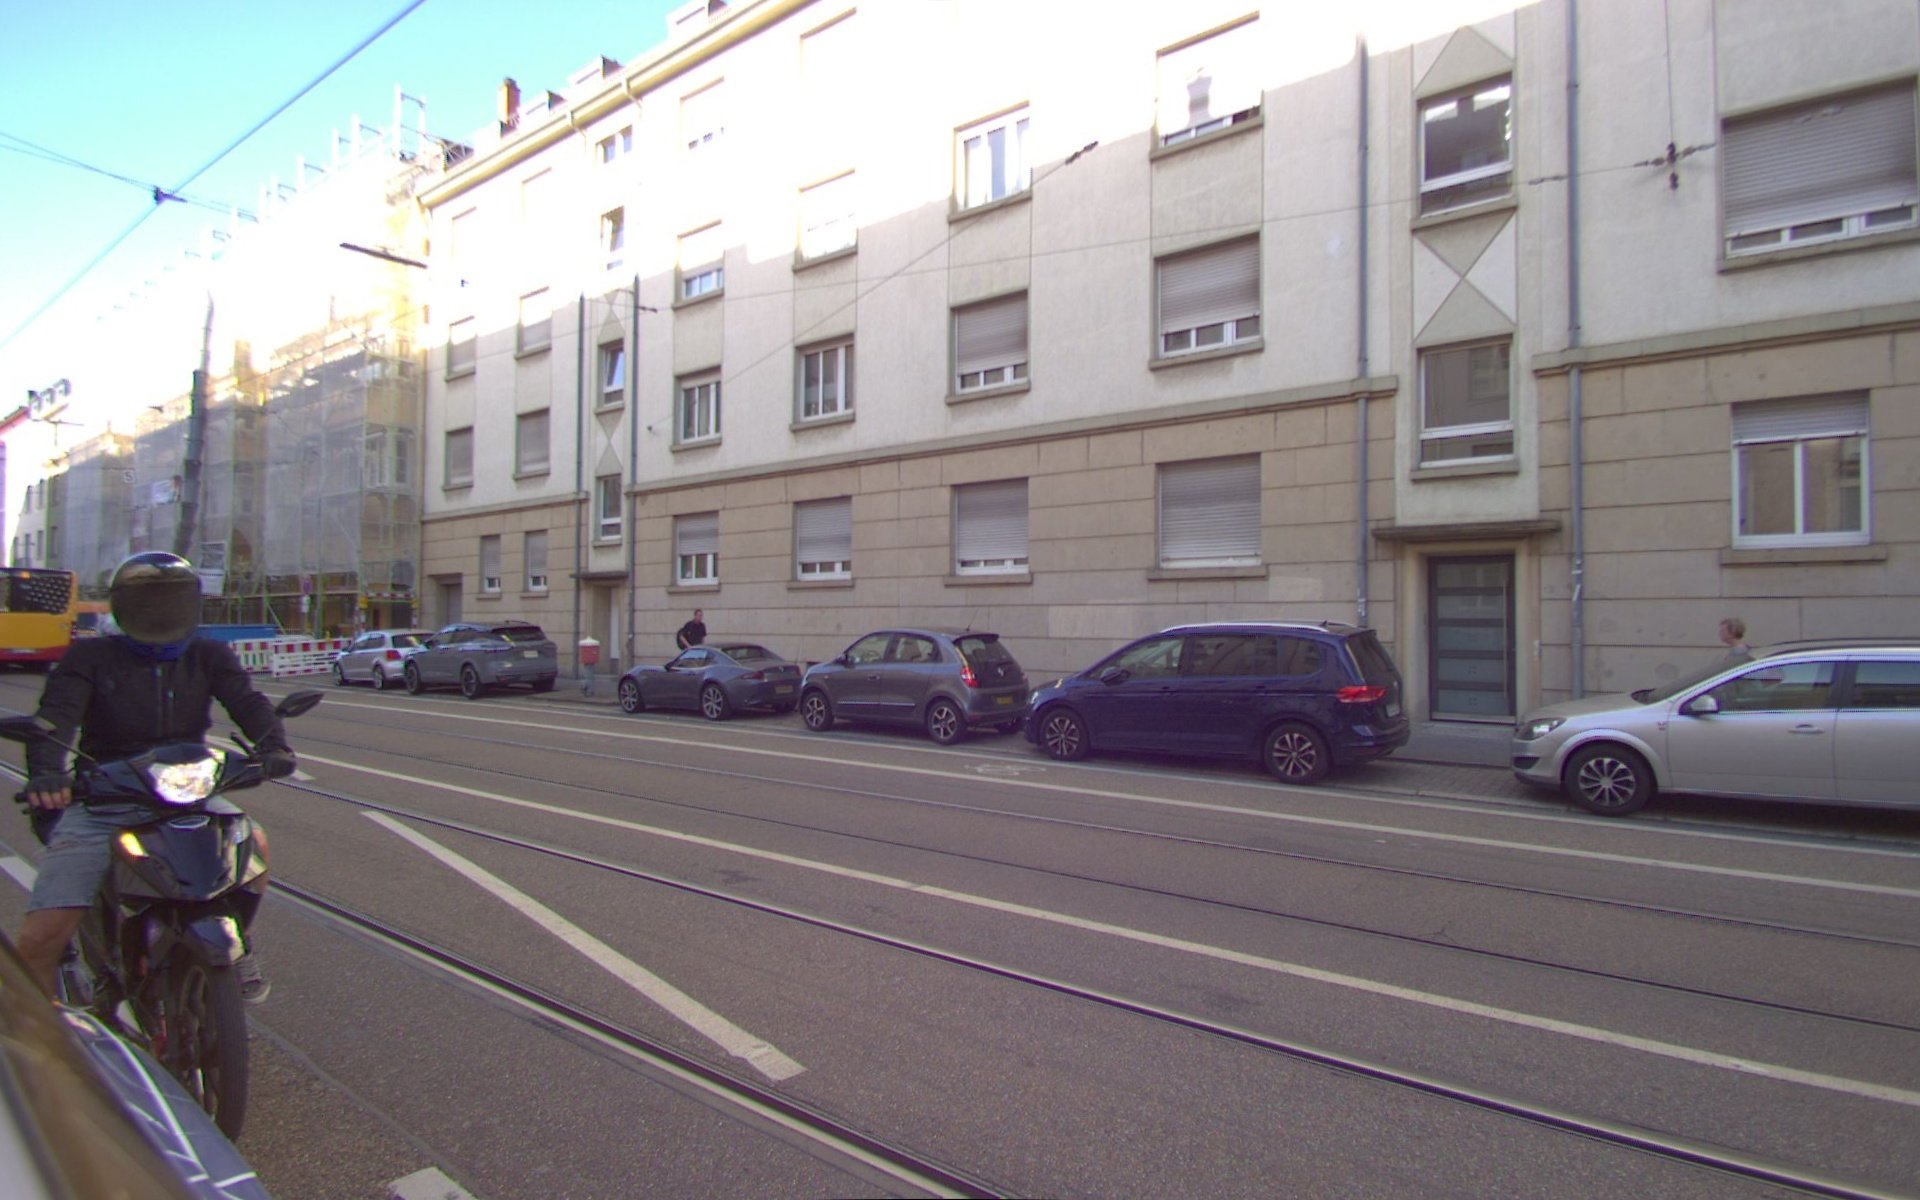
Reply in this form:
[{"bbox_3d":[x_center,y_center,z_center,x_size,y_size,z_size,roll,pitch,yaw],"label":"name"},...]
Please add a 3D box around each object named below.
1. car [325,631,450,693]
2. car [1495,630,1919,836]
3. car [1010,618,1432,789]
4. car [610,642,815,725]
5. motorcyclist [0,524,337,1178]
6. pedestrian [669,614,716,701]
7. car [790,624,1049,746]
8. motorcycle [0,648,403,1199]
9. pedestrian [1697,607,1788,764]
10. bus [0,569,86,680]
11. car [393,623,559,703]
[{"bbox_3d":[-14.401,1.502,25.401,3.506,1.423,1.524,-1,-1,38],"label":"car"},{"bbox_3d":[7.110,1.007,8.506,4.383,1.489,1.779,-1,-1,38],"label":"car"},{"bbox_3d":[2.876,1.036,11.680,4.383,1.611,1.779,-1,-1,38],"label":"car"},{"bbox_3d":[-4.330,1.370,17.505,3.681,1.244,1.502,-1,-1,38],"label":"car"},{"bbox_3d":[-2.558,0.658,3.164,0.899,1.668,0.781,-2,-3,41],"label":"motorcyclist"},{"bbox_3d":[-5.434,1.158,20.550,0.729,1.722,0.597,-2,-3,39],"label":"pedestrian"},{"bbox_3d":[-0.645,1.137,14.659,3.535,1.539,1.659,-1,-1,38],"label":"car"},{"bbox_3d":[-2.655,0.819,3.241,2.272,1.302,0.781,-2,-3,41],"label":"motorcycle"},{"bbox_3d":[8.100,0.860,10.488,0.693,1.553,0.563,-2,-3,39],"label":"pedestrian"},{"bbox_3d":[-34.595,0.887,34.946,19.130,3.137,2.722,-1,-3,37],"label":"bus"},{"bbox_3d":[-10.899,1.338,22.664,4.201,1.611,1.675,-1,-1,38],"label":"car"}]
